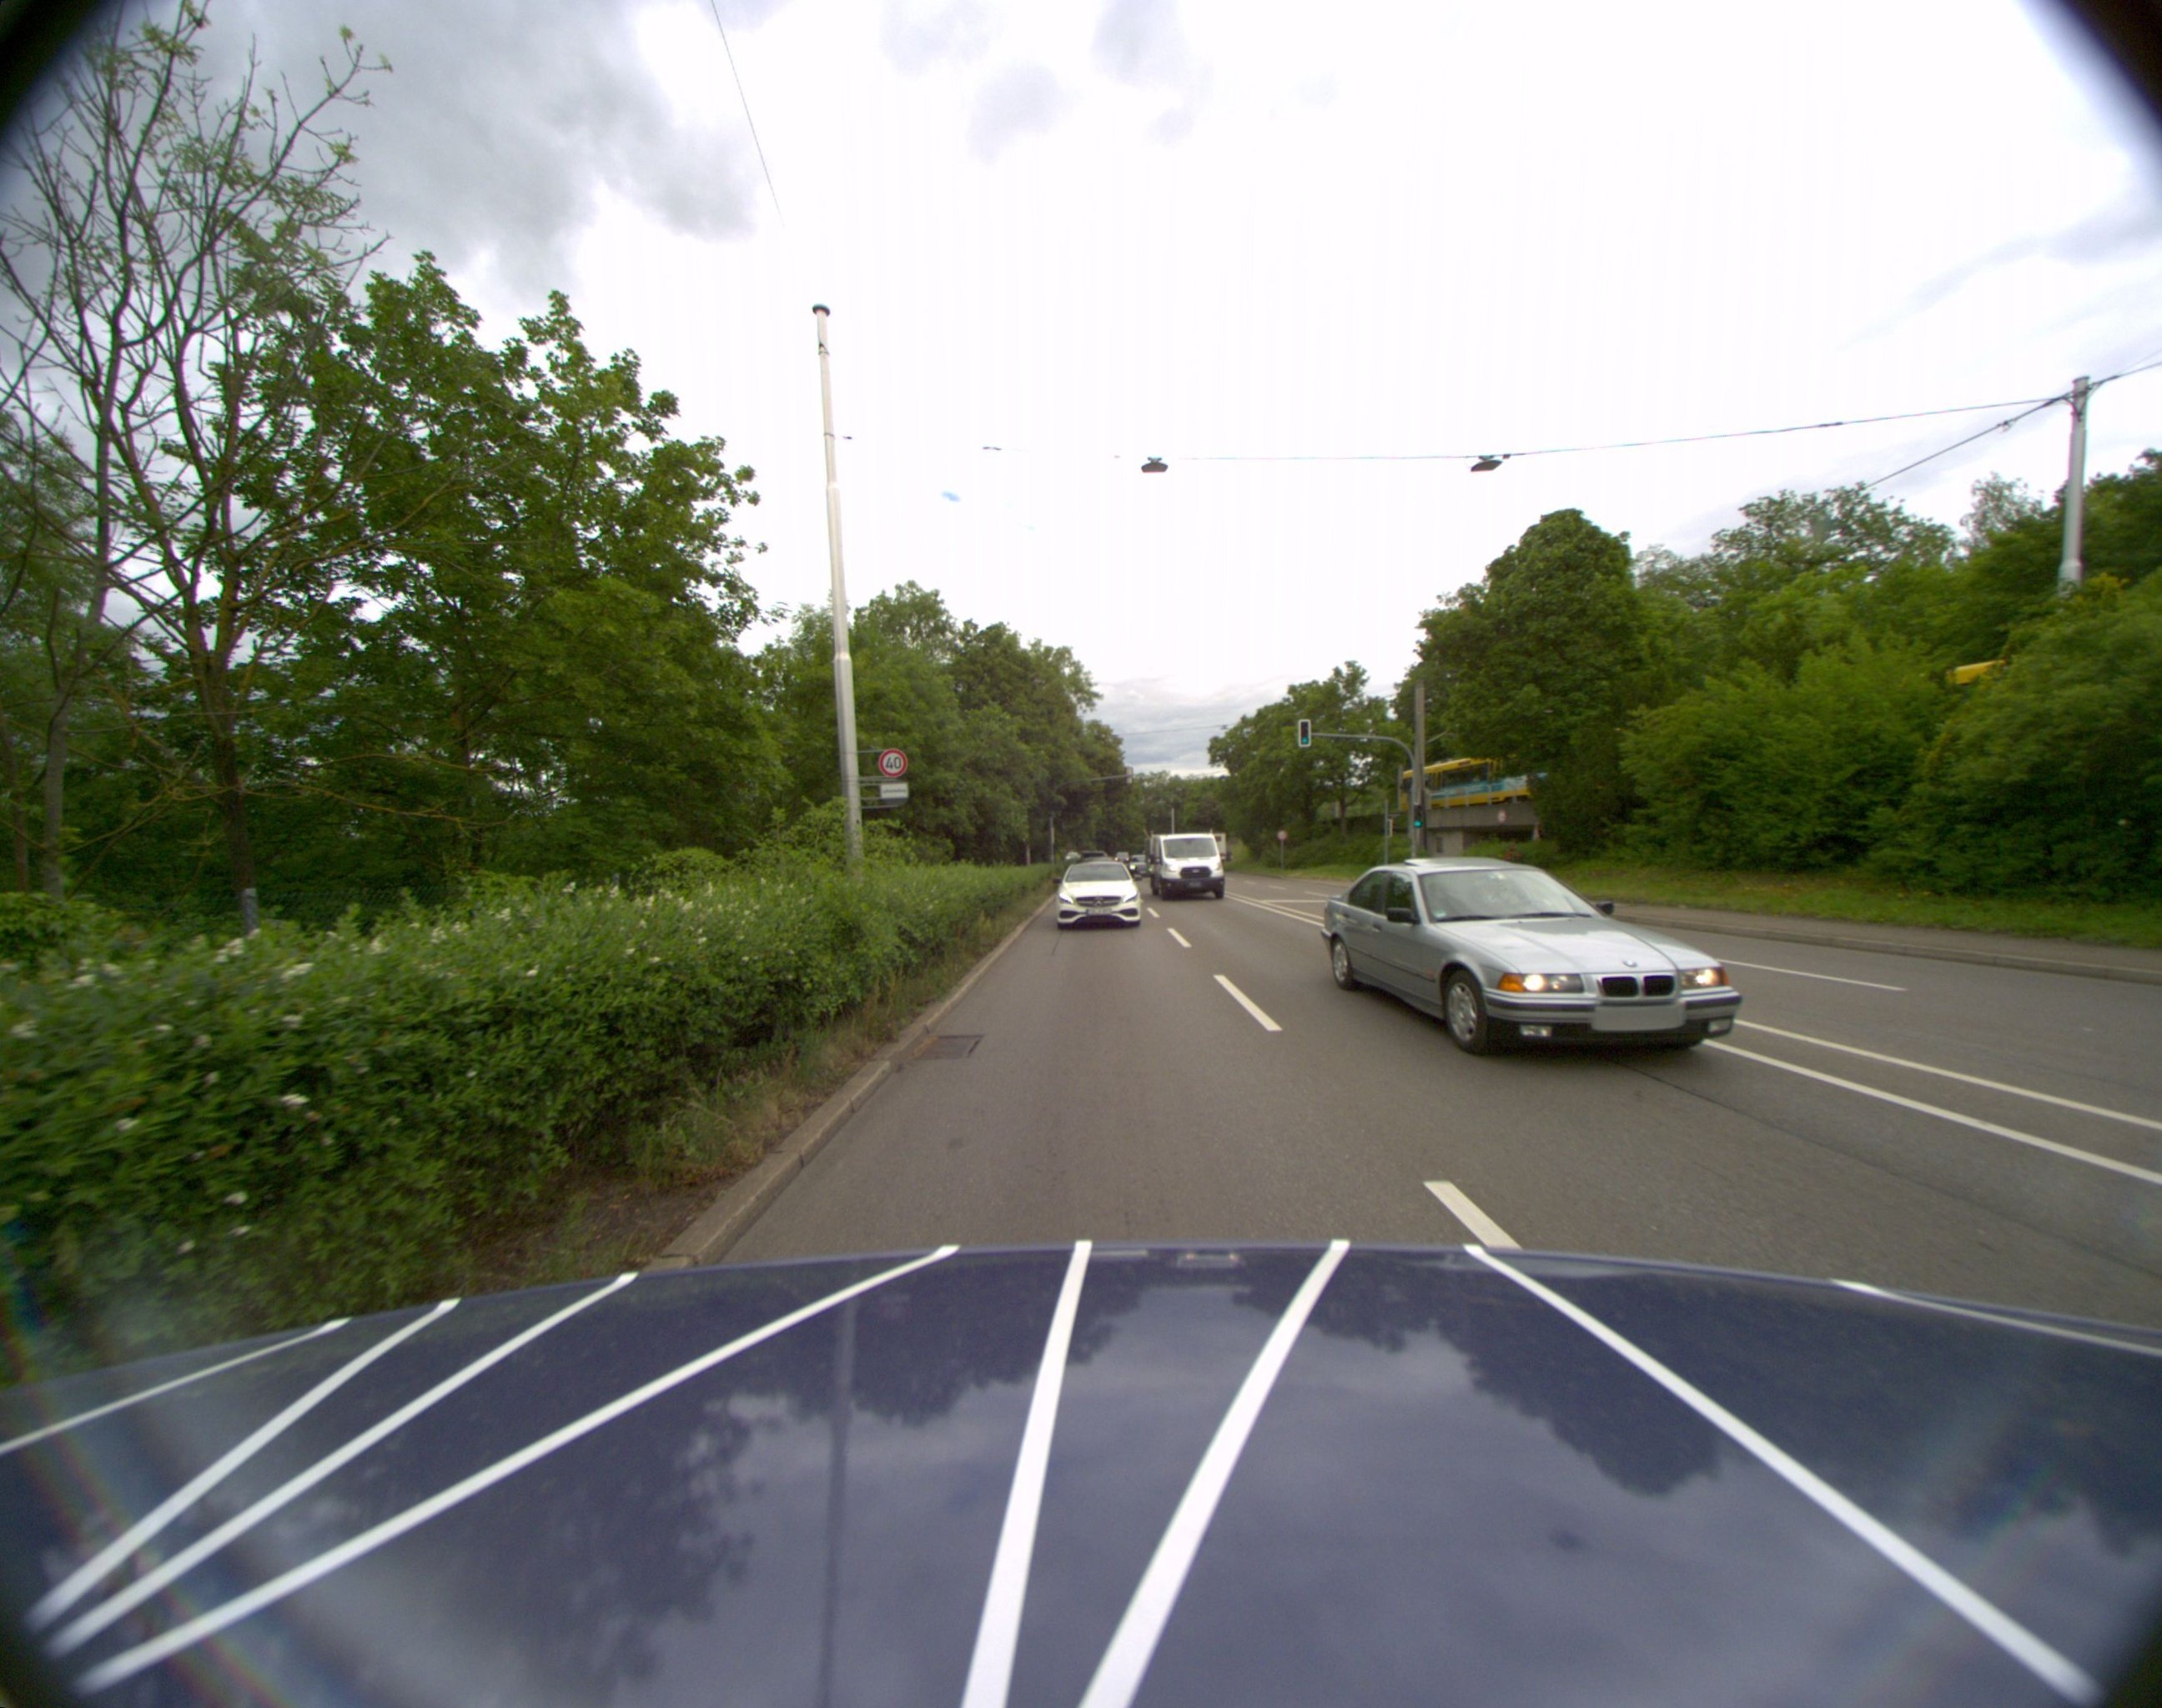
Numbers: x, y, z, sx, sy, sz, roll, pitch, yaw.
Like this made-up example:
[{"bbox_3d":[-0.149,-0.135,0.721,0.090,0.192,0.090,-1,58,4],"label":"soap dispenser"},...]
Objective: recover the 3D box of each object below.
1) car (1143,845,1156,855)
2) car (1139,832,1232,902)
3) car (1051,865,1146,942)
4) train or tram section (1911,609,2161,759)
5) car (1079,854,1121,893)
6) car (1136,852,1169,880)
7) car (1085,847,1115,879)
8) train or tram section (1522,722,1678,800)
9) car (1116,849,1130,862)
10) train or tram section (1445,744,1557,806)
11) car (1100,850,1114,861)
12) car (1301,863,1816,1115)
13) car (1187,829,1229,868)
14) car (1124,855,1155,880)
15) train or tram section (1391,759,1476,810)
[{"bbox_3d":[13.190,-0.690,146.460,1.761,1.863,4.619,-1,0,14],"label":"car"},{"bbox_3d":[3.508,0.386,26.936,2.253,2.113,6.668,-2,0,0],"label":"car"},{"bbox_3d":[0.366,0.984,16.877,1.807,1.385,4.284,-1,0,1],"label":"car"},{"bbox_3d":[26.916,-4.430,19.520,2.063,3.026,8.148,-3,1,-2],"label":"train or tram section"},{"bbox_3d":[0.770,0.788,33.160,1.678,1.532,4.614,-1,0,0],"label":"car"},{"bbox_3d":[4.210,0.671,45.220,1.677,1.532,4.553,-1,0,2],"label":"car"},{"bbox_3d":[1.255,0.592,51.586,1.825,2.059,4.614,-1,0,0],"label":"car"},{"bbox_3d":[25.825,-4.511,38.416,2.063,3.026,8.148,-3,1,-2],"label":"train or tram section"},{"bbox_3d":[5.520,0.185,99.893,1.677,1.532,4.615,-1,0,3],"label":"car"},{"bbox_3d":[25.546,-4.703,46.757,2.063,3.026,8.148,-3,1,-2],"label":"train or tram section"},{"bbox_3d":[3.628,0.219,106.116,1.677,1.532,4.617,-1,0,6],"label":"car"},{"bbox_3d":[3.497,0.833,6.802,1.757,1.385,4.615,-1,0,1],"label":"car"},{"bbox_3d":[10.679,-0.437,64.458,2.275,3.038,7.235,-2,0,0],"label":"car"},{"bbox_3d":[3.939,0.884,51.797,1.678,1.532,4.614,-1,0,0],"label":"car"},{"bbox_3d":[25.267,-4.893,54.931,2.063,3.026,8.148,-3,1,-2],"label":"train or tram section"}]
